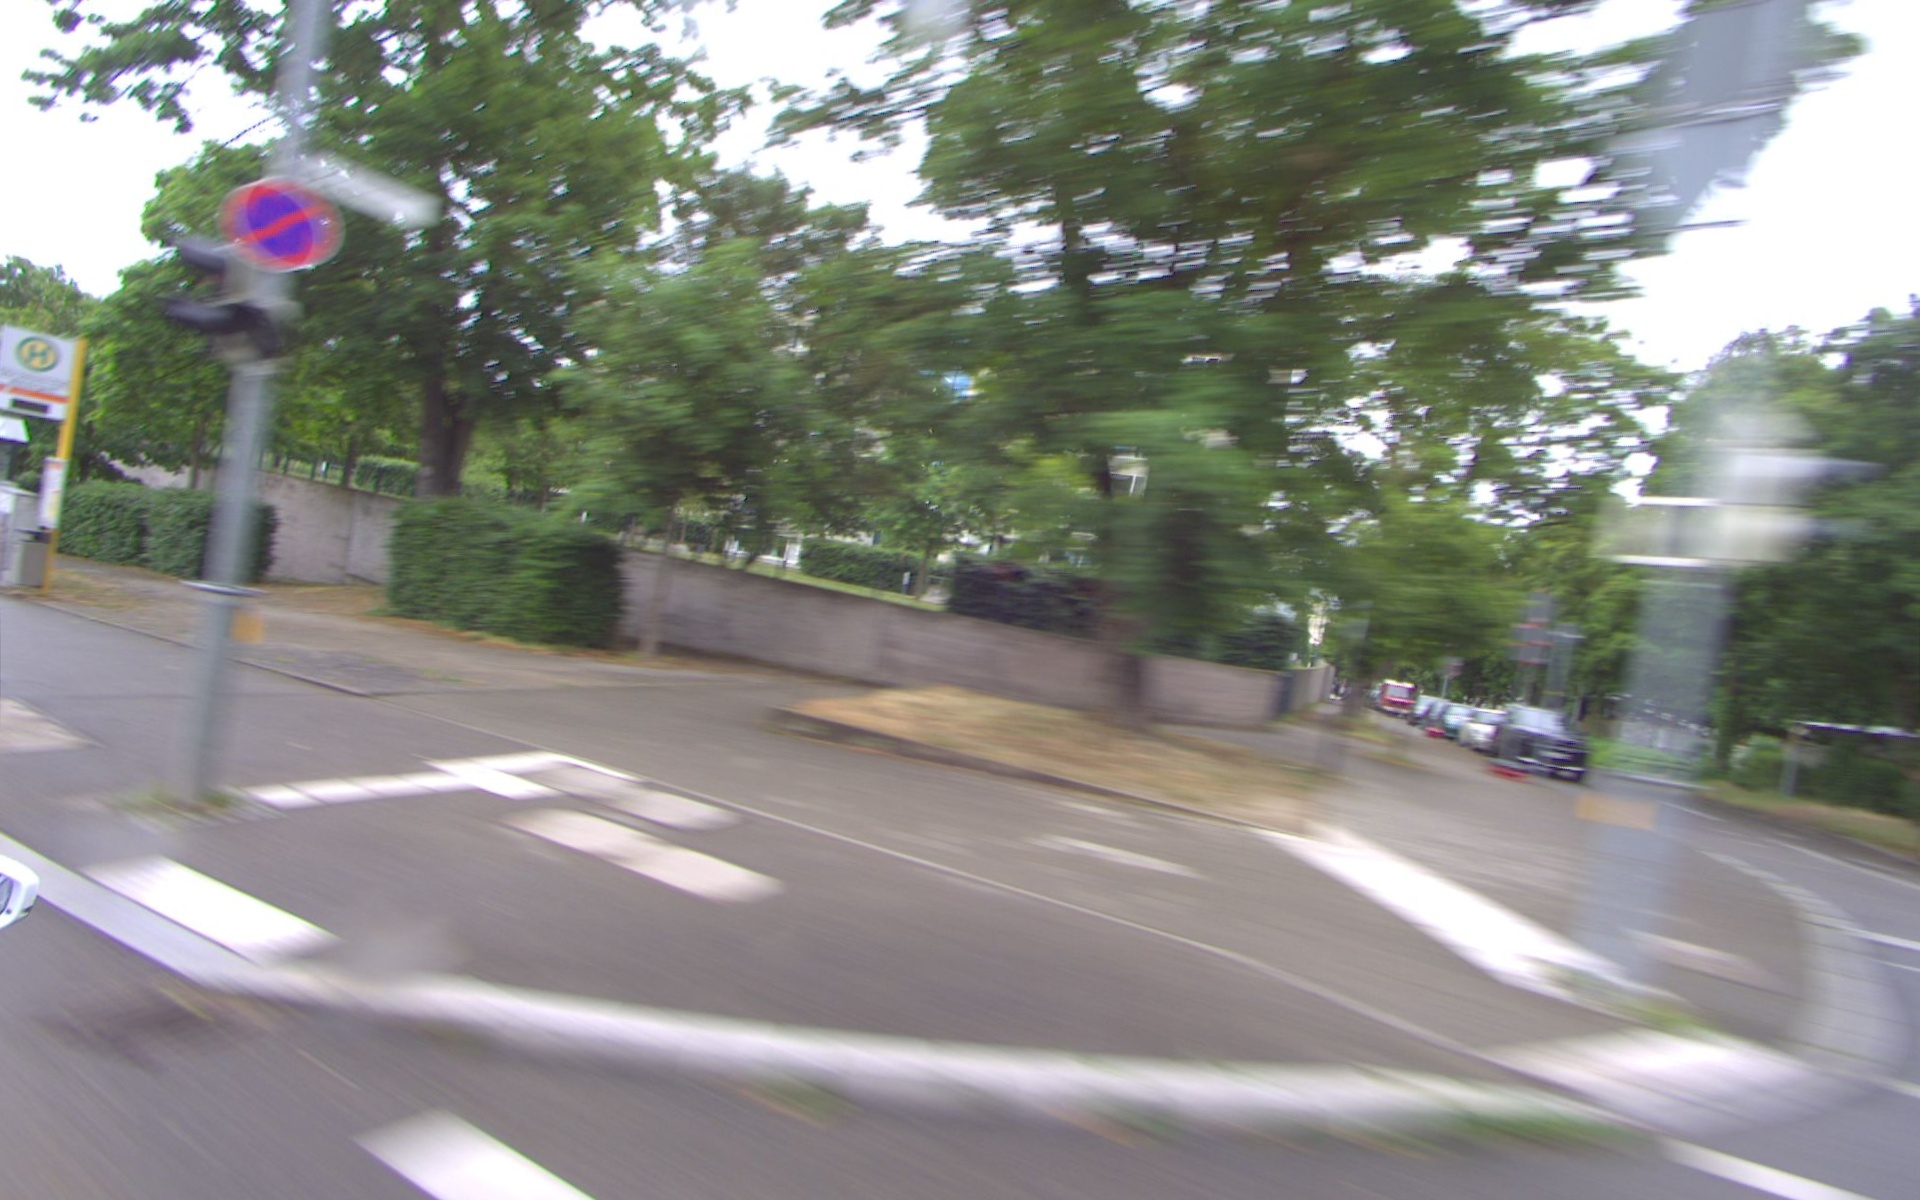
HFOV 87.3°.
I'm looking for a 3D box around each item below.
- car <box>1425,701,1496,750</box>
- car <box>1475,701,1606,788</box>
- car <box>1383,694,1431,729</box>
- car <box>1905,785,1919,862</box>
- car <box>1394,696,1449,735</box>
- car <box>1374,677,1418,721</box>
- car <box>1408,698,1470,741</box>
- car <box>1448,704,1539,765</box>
[{"bbox_3d":[18.836,4.691,38.018,1.600,1.356,4.003,8,-1,17],"label":"car"},{"bbox_3d":[14.758,3.613,25.822,1.849,1.653,4.003,8,-1,17],"label":"car"},{"bbox_3d":[22.681,5.619,51.186,1.600,1.356,4.003,8,-1,17],"label":"car"},{"bbox_3d":[18.620,4.262,17.151,1.811,1.410,4.109,8,-1,16],"label":"car"},{"bbox_3d":[21.355,5.329,46.660,1.600,1.356,4.003,8,-1,17],"label":"car"},{"bbox_3d":[29.339,6.654,67.765,2.352,2.556,6.538,7,-2,23],"label":"car"},{"bbox_3d":[20.068,4.986,42.310,1.600,1.356,4.003,8,-1,17],"label":"car"},{"bbox_3d":[16.359,4.096,31.032,1.600,1.356,4.003,8,-1,17],"label":"car"}]
